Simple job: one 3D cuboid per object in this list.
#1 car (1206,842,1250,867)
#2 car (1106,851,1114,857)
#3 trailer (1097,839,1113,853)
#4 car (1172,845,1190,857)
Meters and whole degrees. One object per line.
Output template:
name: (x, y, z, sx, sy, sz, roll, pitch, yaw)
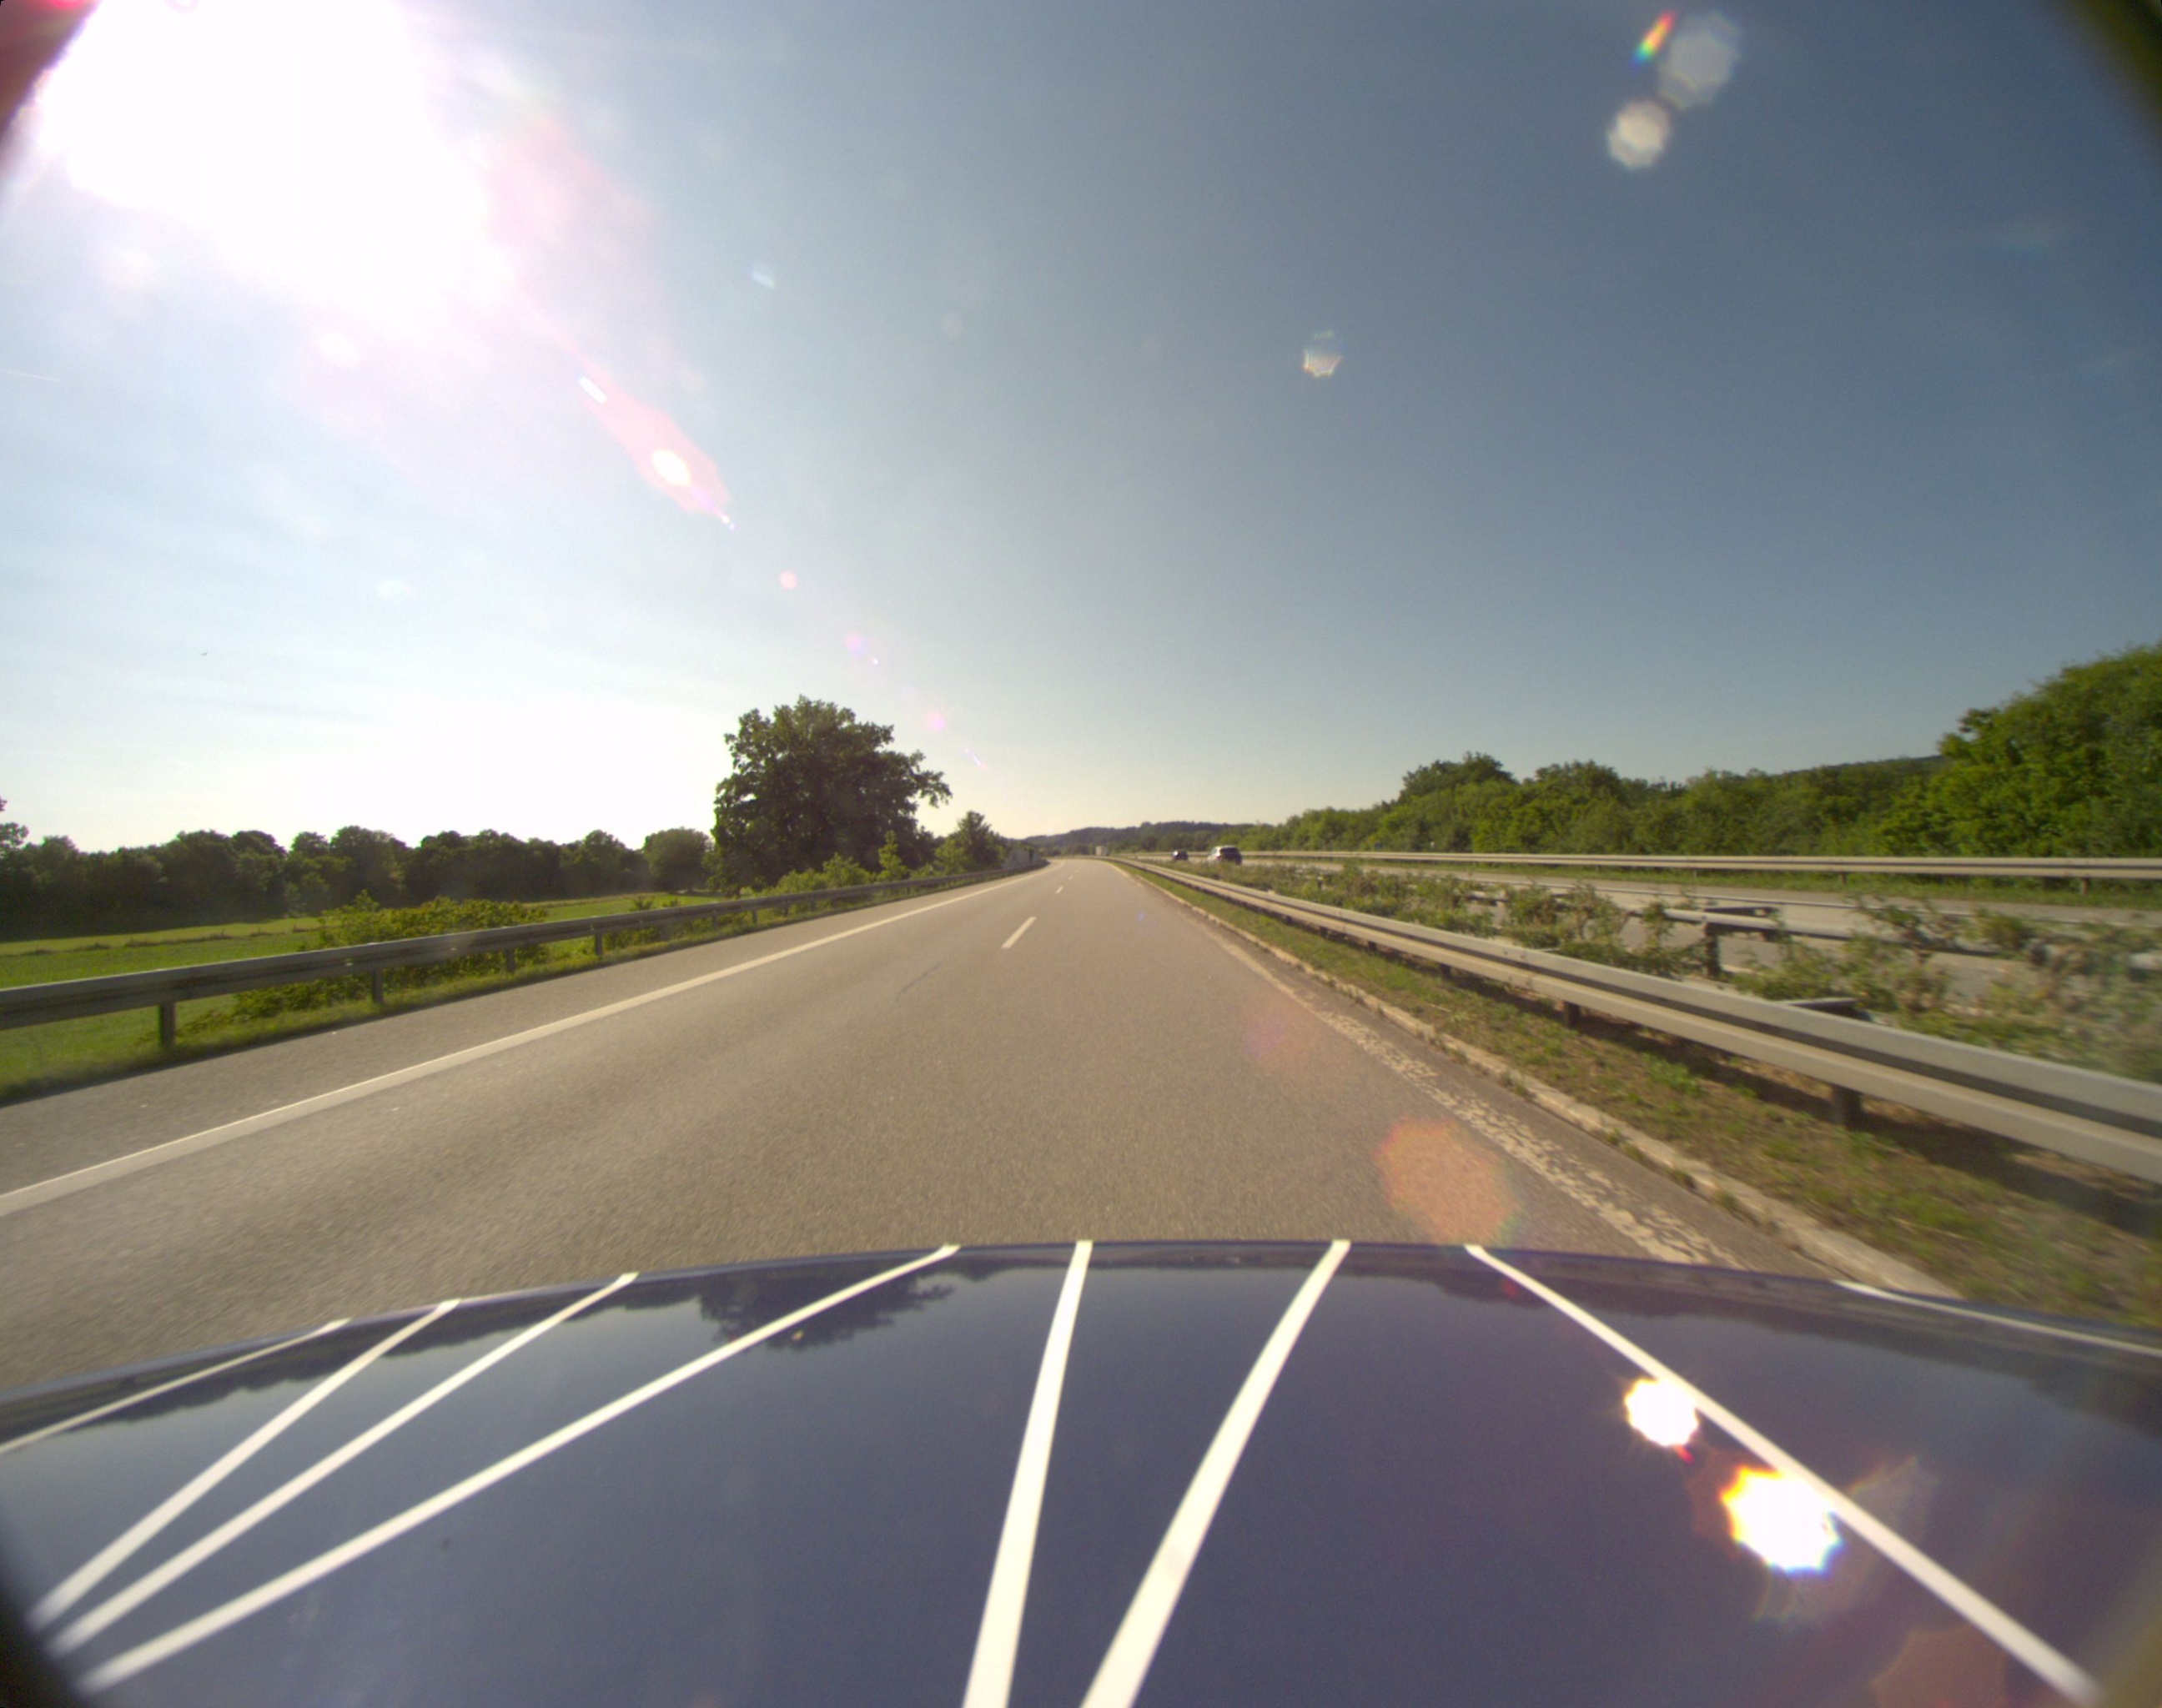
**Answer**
car: (9.962, 0.039, 51.892, 1.914, 1.579, 4.916, -2, 0, -1)
car: (9.033, -0.088, 235.819, 1.964, 1.591, 4.867, -4, 0, 0)
trailer: (8.506, -2.787, 269.898, 3.104, 4.428, 13.739, -5, 0, -7)
car: (12.857, -0.401, 97.920, 1.743, 1.437, 4.768, -3, 0, 2)
